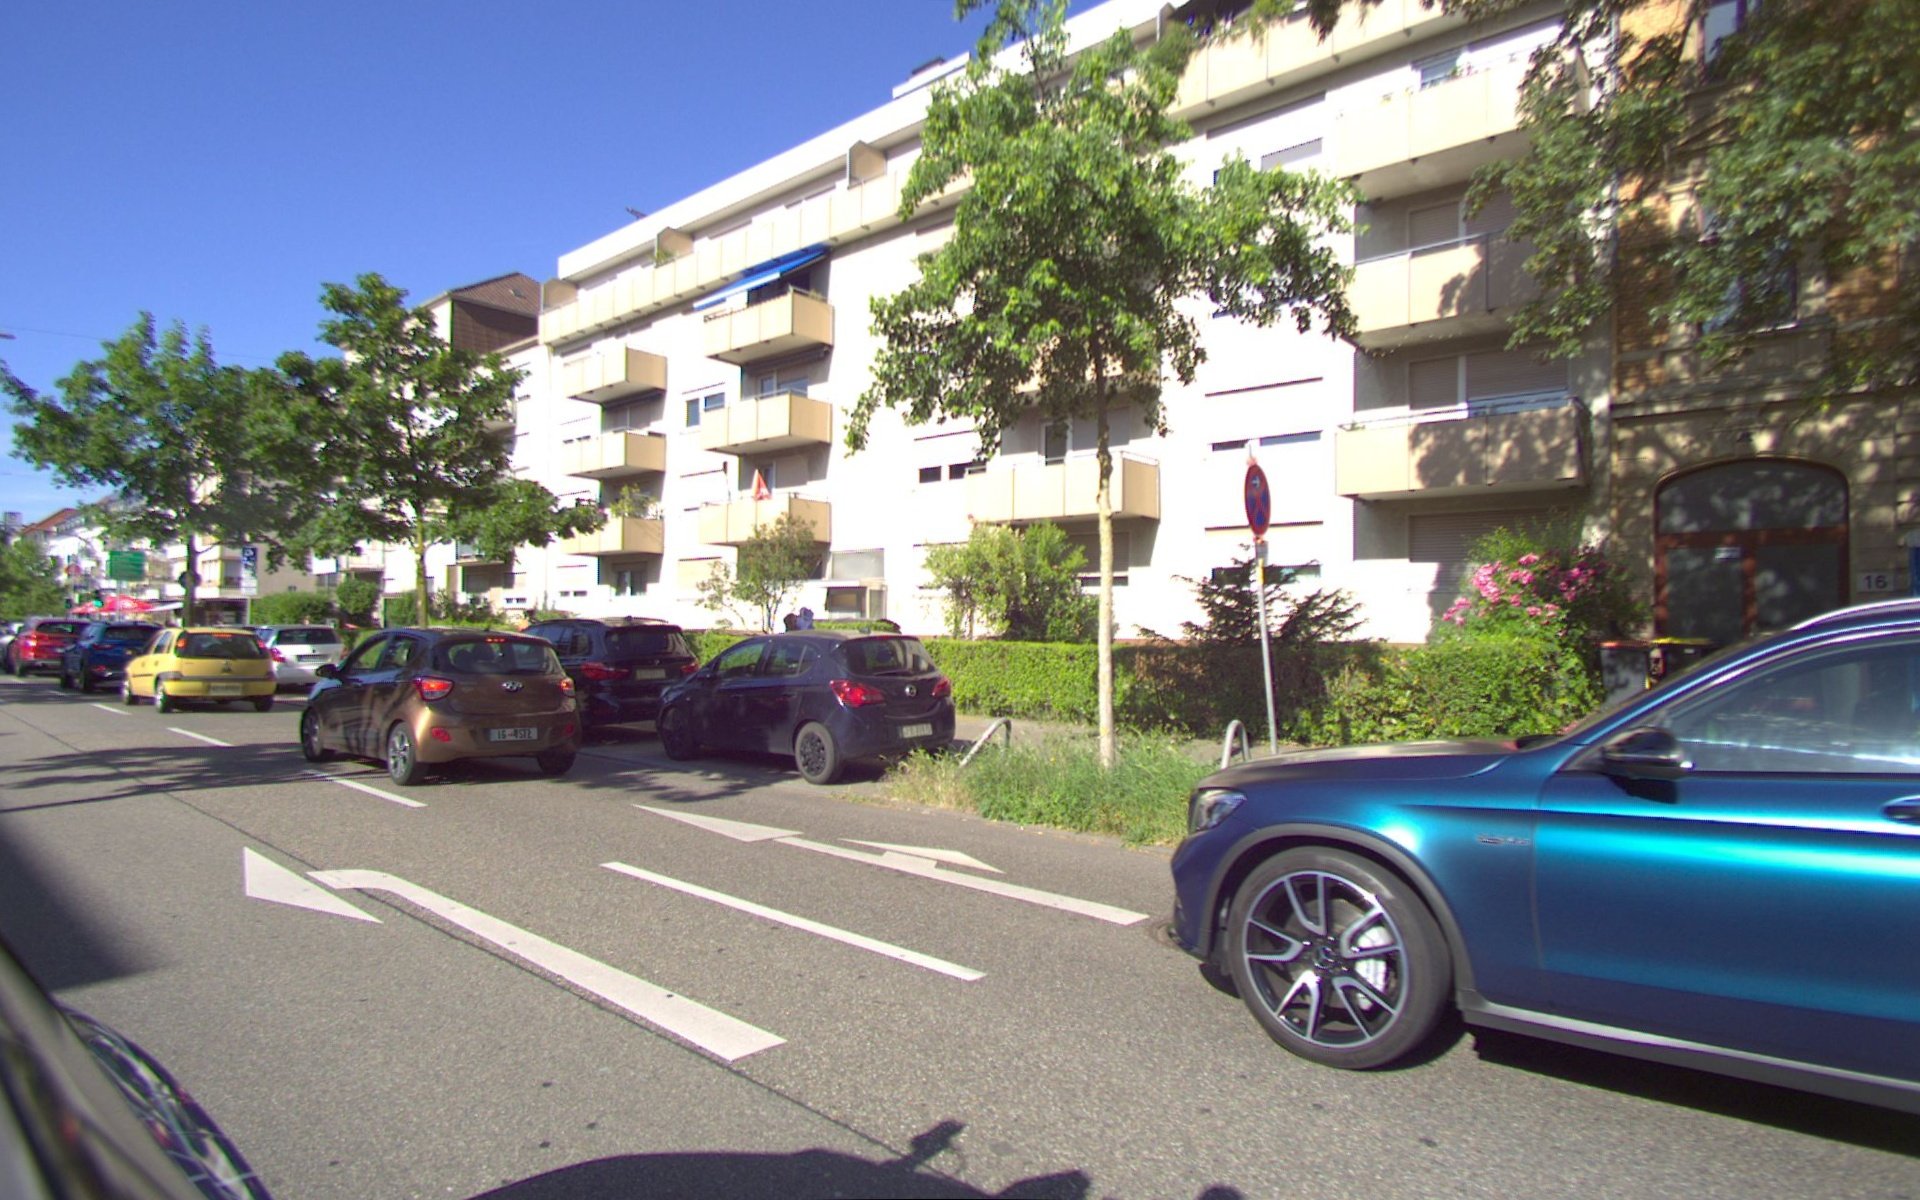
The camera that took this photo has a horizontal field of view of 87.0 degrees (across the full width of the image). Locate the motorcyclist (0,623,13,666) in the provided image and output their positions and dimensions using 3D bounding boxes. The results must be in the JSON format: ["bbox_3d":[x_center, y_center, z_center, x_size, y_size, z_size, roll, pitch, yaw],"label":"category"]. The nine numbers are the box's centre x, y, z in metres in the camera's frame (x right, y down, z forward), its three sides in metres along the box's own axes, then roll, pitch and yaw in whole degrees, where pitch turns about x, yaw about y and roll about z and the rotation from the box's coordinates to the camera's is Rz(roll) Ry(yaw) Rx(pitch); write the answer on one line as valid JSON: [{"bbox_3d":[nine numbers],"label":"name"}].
[{"bbox_3d":[-37.644,1.750,39.618,0.720,1.659,0.918,5,-5,-44],"label":"motorcyclist"}]

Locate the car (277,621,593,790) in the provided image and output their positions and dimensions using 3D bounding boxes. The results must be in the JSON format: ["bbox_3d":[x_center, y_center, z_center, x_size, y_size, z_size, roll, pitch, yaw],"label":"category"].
[{"bbox_3d":[-5.589,1.003,10.611,3.742,1.463,1.565,-1,-5,40],"label":"car"}]

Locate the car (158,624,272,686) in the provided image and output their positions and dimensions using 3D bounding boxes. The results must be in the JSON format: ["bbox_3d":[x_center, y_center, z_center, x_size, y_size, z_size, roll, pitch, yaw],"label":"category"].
[{"bbox_3d":[-19.541,1.393,26.499,3.891,1.487,1.489,-1,-2,39],"label":"car"}]

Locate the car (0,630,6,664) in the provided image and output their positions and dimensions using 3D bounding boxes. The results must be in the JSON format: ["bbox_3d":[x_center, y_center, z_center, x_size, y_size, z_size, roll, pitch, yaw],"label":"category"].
[{"bbox_3d":[-41.600,1.905,42.500,4.503,1.417,1.680,-1,-5,40],"label":"car"}]

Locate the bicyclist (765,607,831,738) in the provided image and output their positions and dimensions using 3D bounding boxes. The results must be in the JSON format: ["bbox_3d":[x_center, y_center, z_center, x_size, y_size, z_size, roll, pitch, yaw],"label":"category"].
[{"bbox_3d":[-2.267,0.989,14.153,0.691,1.767,0.602,-1,-2,41],"label":"bicyclist"}]

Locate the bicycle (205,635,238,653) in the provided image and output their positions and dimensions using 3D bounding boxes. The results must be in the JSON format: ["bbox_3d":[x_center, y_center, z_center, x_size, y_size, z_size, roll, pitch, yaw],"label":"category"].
[{"bbox_3d":[-44.647,2.639,61.217,0.449,1.085,1.545,-1,-2,39],"label":"bicycle"}]

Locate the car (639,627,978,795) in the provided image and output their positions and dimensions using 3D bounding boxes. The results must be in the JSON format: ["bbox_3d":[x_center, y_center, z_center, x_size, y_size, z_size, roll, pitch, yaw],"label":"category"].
[{"bbox_3d":[-1.788,1.050,11.076,3.931,1.488,1.584,-1,-1,43],"label":"car"}]

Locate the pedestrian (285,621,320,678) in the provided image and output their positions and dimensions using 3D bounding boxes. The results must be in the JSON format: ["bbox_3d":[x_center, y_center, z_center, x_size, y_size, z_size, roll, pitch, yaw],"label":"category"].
[{"bbox_3d":[-19.942,1.481,30.685,0.929,1.699,0.662,-1,-2,40],"label":"pedestrian"}]

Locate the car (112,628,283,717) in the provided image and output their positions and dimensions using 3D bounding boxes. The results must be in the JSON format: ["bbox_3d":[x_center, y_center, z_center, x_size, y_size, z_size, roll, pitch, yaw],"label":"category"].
[{"bbox_3d":[-13.593,1.230,17.973,3.734,1.414,1.617,-1,-4,41],"label":"car"}]

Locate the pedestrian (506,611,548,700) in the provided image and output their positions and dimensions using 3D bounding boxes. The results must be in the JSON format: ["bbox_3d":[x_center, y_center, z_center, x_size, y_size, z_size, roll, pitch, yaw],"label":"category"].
[{"bbox_3d":[-8.250,1.037,19.278,0.719,1.663,0.464,-1,-1,42],"label":"pedestrian"}]

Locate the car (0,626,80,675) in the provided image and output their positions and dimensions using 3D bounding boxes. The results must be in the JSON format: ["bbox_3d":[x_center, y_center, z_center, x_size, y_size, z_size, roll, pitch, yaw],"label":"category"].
[{"bbox_3d":[-30.520,1.632,33.221,4.776,1.476,1.794,-1,-4,42],"label":"car"}]

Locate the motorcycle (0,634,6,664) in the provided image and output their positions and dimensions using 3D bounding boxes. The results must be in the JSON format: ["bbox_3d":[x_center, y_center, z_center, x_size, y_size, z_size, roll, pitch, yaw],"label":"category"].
[{"bbox_3d":[-37.703,1.892,39.595,0.442,1.130,1.934,5,-5,-45],"label":"motorcycle"}]

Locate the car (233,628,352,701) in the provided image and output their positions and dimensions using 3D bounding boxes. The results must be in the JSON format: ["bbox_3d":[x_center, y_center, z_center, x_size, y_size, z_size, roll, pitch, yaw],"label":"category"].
[{"bbox_3d":[-15.190,1.396,22.957,3.685,1.501,1.386,-2,-2,42],"label":"car"}]

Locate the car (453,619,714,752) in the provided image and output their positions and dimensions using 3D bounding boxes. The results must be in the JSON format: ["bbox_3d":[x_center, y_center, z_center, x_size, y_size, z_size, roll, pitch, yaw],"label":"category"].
[{"bbox_3d":[-5.492,1.094,14.482,4.393,1.617,1.652,-1,-1,42],"label":"car"}]

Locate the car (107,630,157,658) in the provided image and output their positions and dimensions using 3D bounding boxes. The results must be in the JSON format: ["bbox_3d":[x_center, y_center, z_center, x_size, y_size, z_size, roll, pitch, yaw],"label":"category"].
[{"bbox_3d":[-51.826,2.733,63.284,4.303,1.635,1.742,-1,-2,42],"label":"car"}]

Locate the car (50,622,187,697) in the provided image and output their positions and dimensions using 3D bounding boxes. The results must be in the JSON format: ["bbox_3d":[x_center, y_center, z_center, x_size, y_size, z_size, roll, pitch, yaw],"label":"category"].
[{"bbox_3d":[-18.799,1.300,22.549,4.074,1.529,1.638,-1,-5,41],"label":"car"}]

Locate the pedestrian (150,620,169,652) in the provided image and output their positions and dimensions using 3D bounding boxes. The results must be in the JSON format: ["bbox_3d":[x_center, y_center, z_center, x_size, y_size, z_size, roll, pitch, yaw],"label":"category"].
[{"bbox_3d":[-41.708,1.859,52.709,0.682,1.671,0.650,-1,-2,42],"label":"pedestrian"}]

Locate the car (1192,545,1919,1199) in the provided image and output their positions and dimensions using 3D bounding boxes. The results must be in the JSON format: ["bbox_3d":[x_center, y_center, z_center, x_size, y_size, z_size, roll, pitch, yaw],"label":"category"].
[{"bbox_3d":[3.099,0.729,2.931,4.398,1.626,1.817,-1,-4,41],"label":"car"}]

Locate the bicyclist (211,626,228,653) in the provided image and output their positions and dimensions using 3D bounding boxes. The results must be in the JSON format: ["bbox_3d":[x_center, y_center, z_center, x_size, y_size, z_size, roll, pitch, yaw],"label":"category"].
[{"bbox_3d":[-44.726,2.394,61.136,0.578,1.619,0.677,-1,-2,39],"label":"bicyclist"}]

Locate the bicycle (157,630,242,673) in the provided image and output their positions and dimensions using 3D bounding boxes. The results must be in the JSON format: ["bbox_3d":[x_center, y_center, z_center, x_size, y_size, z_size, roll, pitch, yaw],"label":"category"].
[{"bbox_3d":[-21.276,1.432,28.340,0.559,1.095,1.808,-1,1,40],"label":"bicycle"}]

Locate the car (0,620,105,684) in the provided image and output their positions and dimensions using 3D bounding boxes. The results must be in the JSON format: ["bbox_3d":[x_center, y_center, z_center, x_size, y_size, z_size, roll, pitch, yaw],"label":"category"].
[{"bbox_3d":[-25.368,1.431,28.187,4.298,1.629,1.703,-2,-5,42],"label":"car"}]
